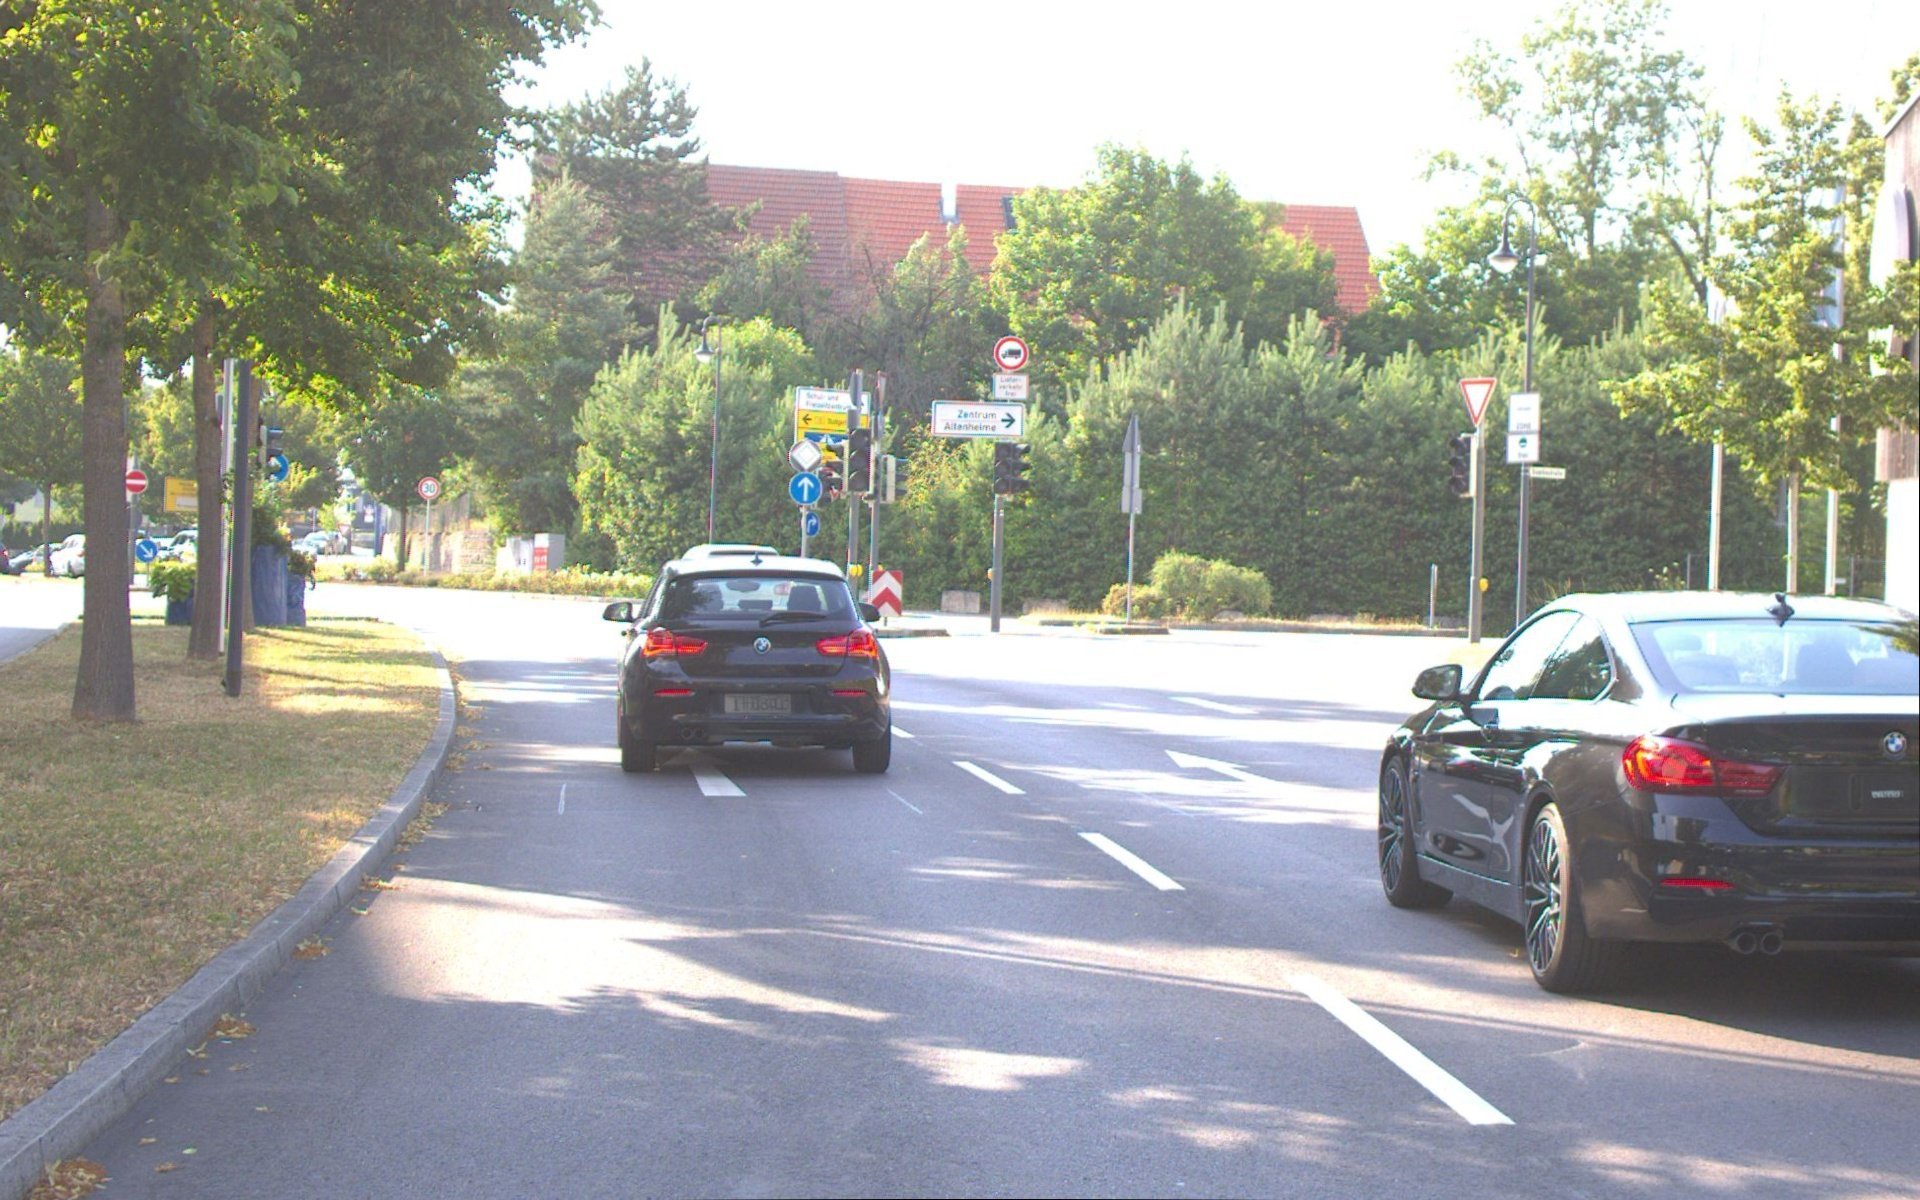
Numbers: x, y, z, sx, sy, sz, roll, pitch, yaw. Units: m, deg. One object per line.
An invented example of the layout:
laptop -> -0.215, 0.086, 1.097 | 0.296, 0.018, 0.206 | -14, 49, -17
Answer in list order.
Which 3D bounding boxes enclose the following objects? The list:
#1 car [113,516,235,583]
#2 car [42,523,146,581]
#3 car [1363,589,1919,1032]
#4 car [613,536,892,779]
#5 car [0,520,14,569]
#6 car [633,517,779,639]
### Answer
car -> -21.780, -1.400, 95.132 | 2.216, 1.763, 4.455 | 1, 1, -28
car -> -27.542, -1.539, 109.204 | 2.216, 1.763, 4.455 | 1, 1, -28
car -> 2.819, 0.661, 12.994 | 1.920, 1.359, 4.353 | 1, 0, -2
car -> -1.473, 0.341, 23.838 | 1.721, 1.485, 4.353 | 2, 0, -4
car -> -36.239, -2.057, 125.747 | 2.216, 1.763, 4.455 | 1, 1, -28
car -> -3.957, -0.357, 52.961 | 1.925, 1.763, 4.455 | 1, 1, -8
